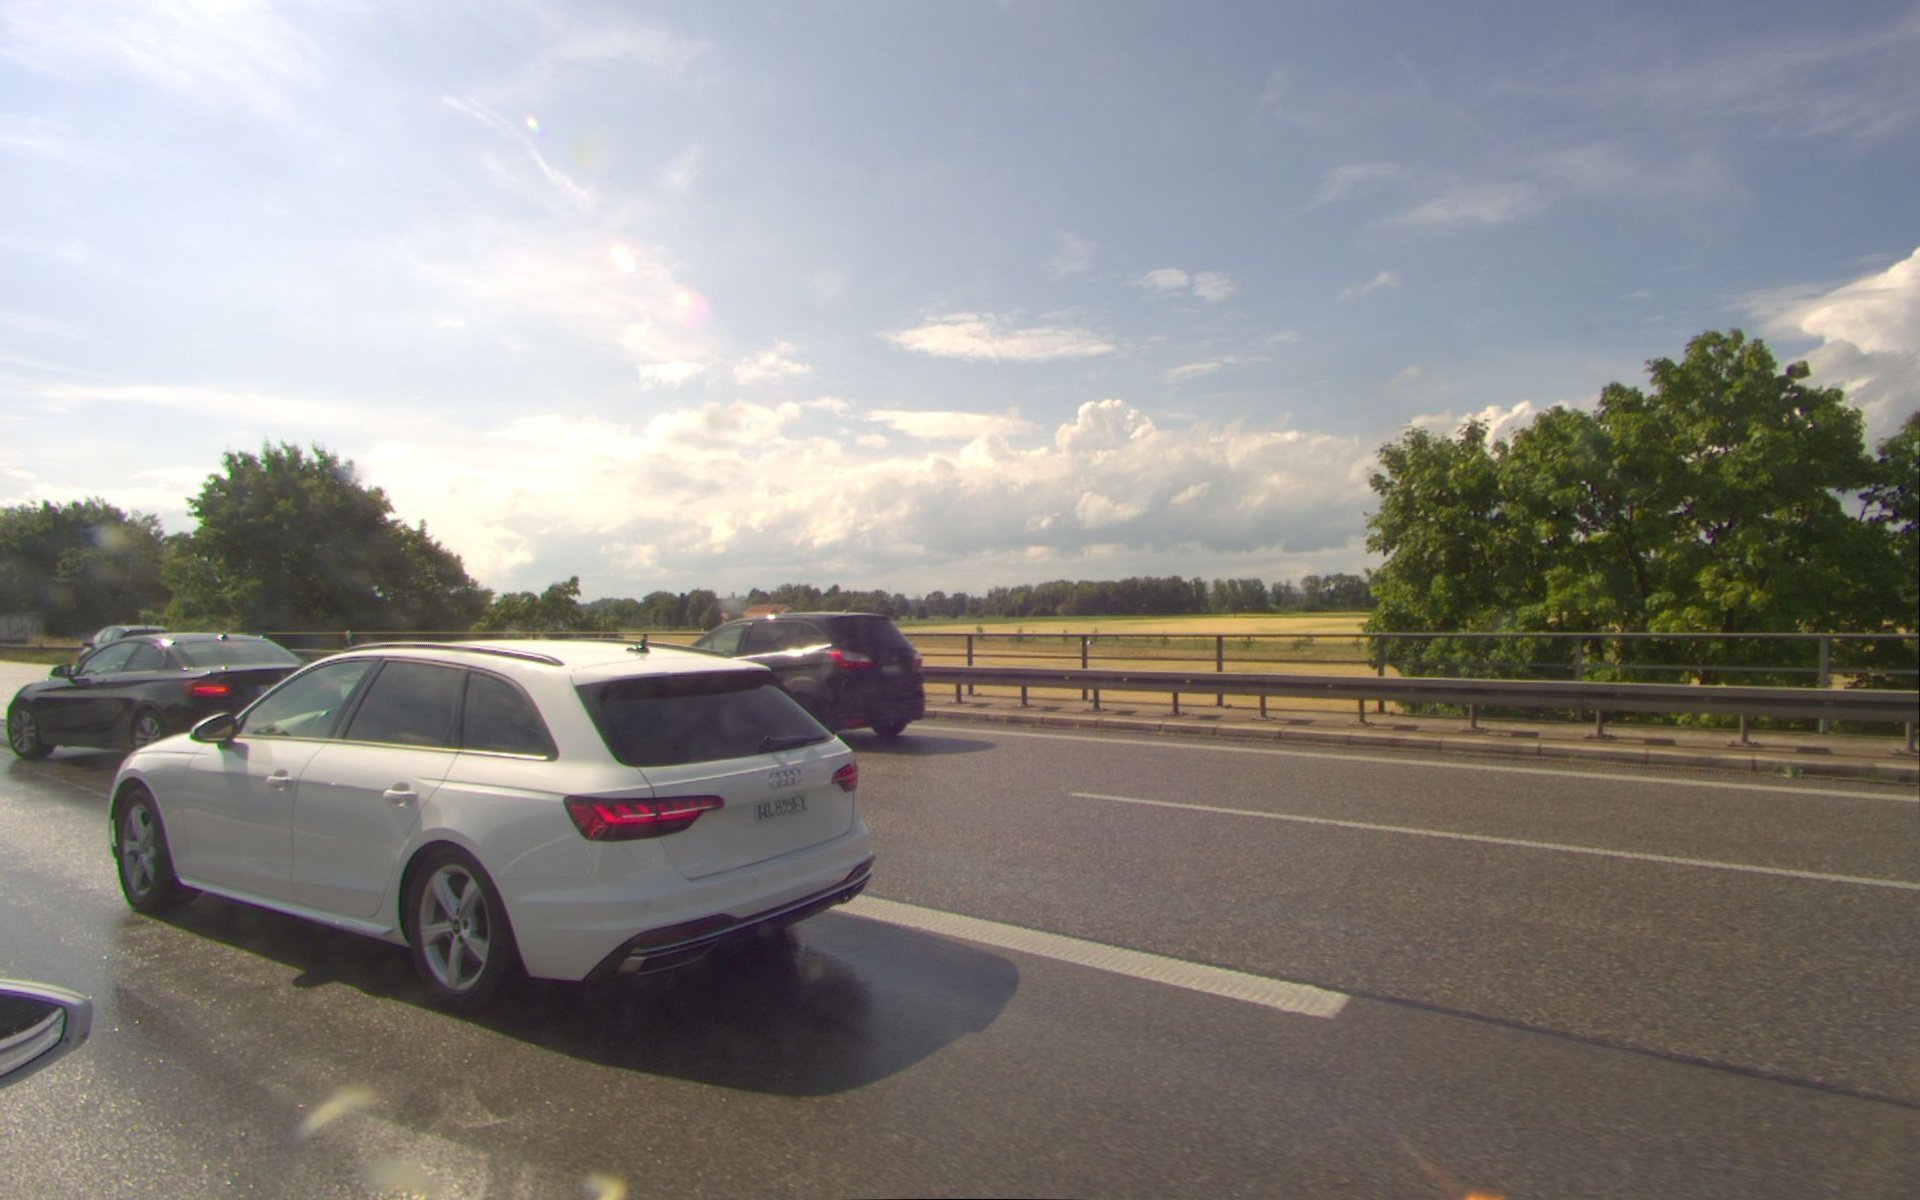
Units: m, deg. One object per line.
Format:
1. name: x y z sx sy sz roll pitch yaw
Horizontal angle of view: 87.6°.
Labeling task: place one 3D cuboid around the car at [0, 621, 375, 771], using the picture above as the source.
1. car: -9.172 1.026 11.833 4.186 1.483 1.848 -1 0 25

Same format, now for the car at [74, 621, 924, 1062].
1. car: -2.550 0.872 5.224 4.445 1.444 1.824 -2 -1 30

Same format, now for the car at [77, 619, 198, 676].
1. car: -24.623 1.392 29.933 3.947 1.588 1.843 -1 -2 36

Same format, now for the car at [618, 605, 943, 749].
1. car: -2.486 0.929 13.396 4.306 1.641 1.815 -1 -2 36
